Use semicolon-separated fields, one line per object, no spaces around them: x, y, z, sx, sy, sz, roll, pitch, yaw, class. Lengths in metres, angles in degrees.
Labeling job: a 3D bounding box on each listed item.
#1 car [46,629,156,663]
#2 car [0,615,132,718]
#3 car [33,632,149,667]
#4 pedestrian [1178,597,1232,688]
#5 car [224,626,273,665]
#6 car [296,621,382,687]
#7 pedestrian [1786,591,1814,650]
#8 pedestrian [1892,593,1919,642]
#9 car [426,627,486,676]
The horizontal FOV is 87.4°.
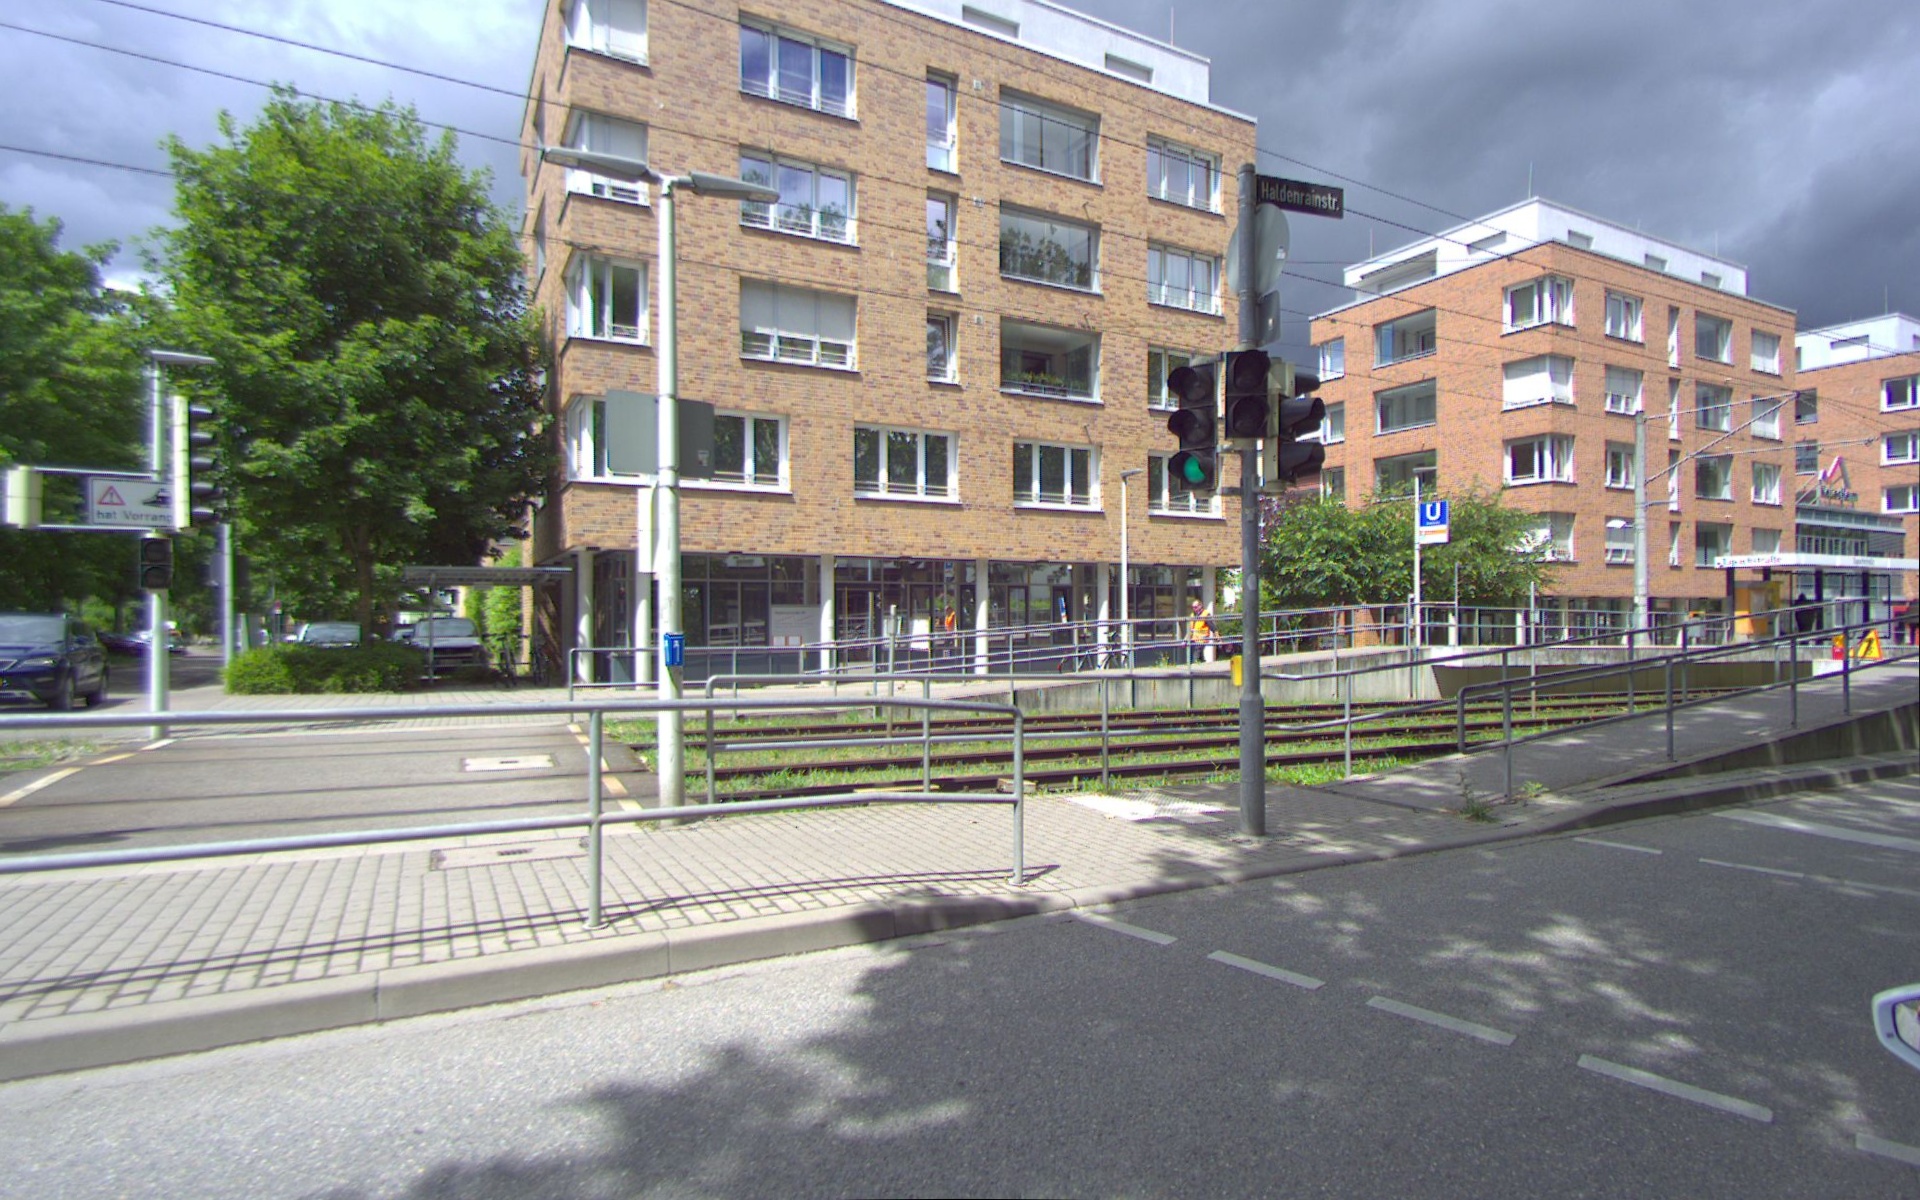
-43.763;2.347;51.313;4.073;1.576;1.841;2;-1;-37;car
-14.913;1.067;16.199;1.567;1.495;3.661;1;-4;-26;car
-42.126;2.387;48.801;4.073;1.576;1.841;2;0;-37;car
5.120;0.870;21.004;0.819;1.849;0.740;0;-1;-30;pedestrian
-37.129;2.361;52.485;1.772;1.947;4.027;1;-2;-32;car
-14.486;1.213;23.521;1.576;1.418;3.513;1;-2;-31;car
25.595;0.631;30.597;0.522;1.787;0.531;1;-1;-32;pedestrian
32.346;0.601;34.158;0.806;1.650;0.748;1;0;-29;pedestrian
-12.404;1.242;24.676;1.136;1.134;2.640;1;-2;-31;car
